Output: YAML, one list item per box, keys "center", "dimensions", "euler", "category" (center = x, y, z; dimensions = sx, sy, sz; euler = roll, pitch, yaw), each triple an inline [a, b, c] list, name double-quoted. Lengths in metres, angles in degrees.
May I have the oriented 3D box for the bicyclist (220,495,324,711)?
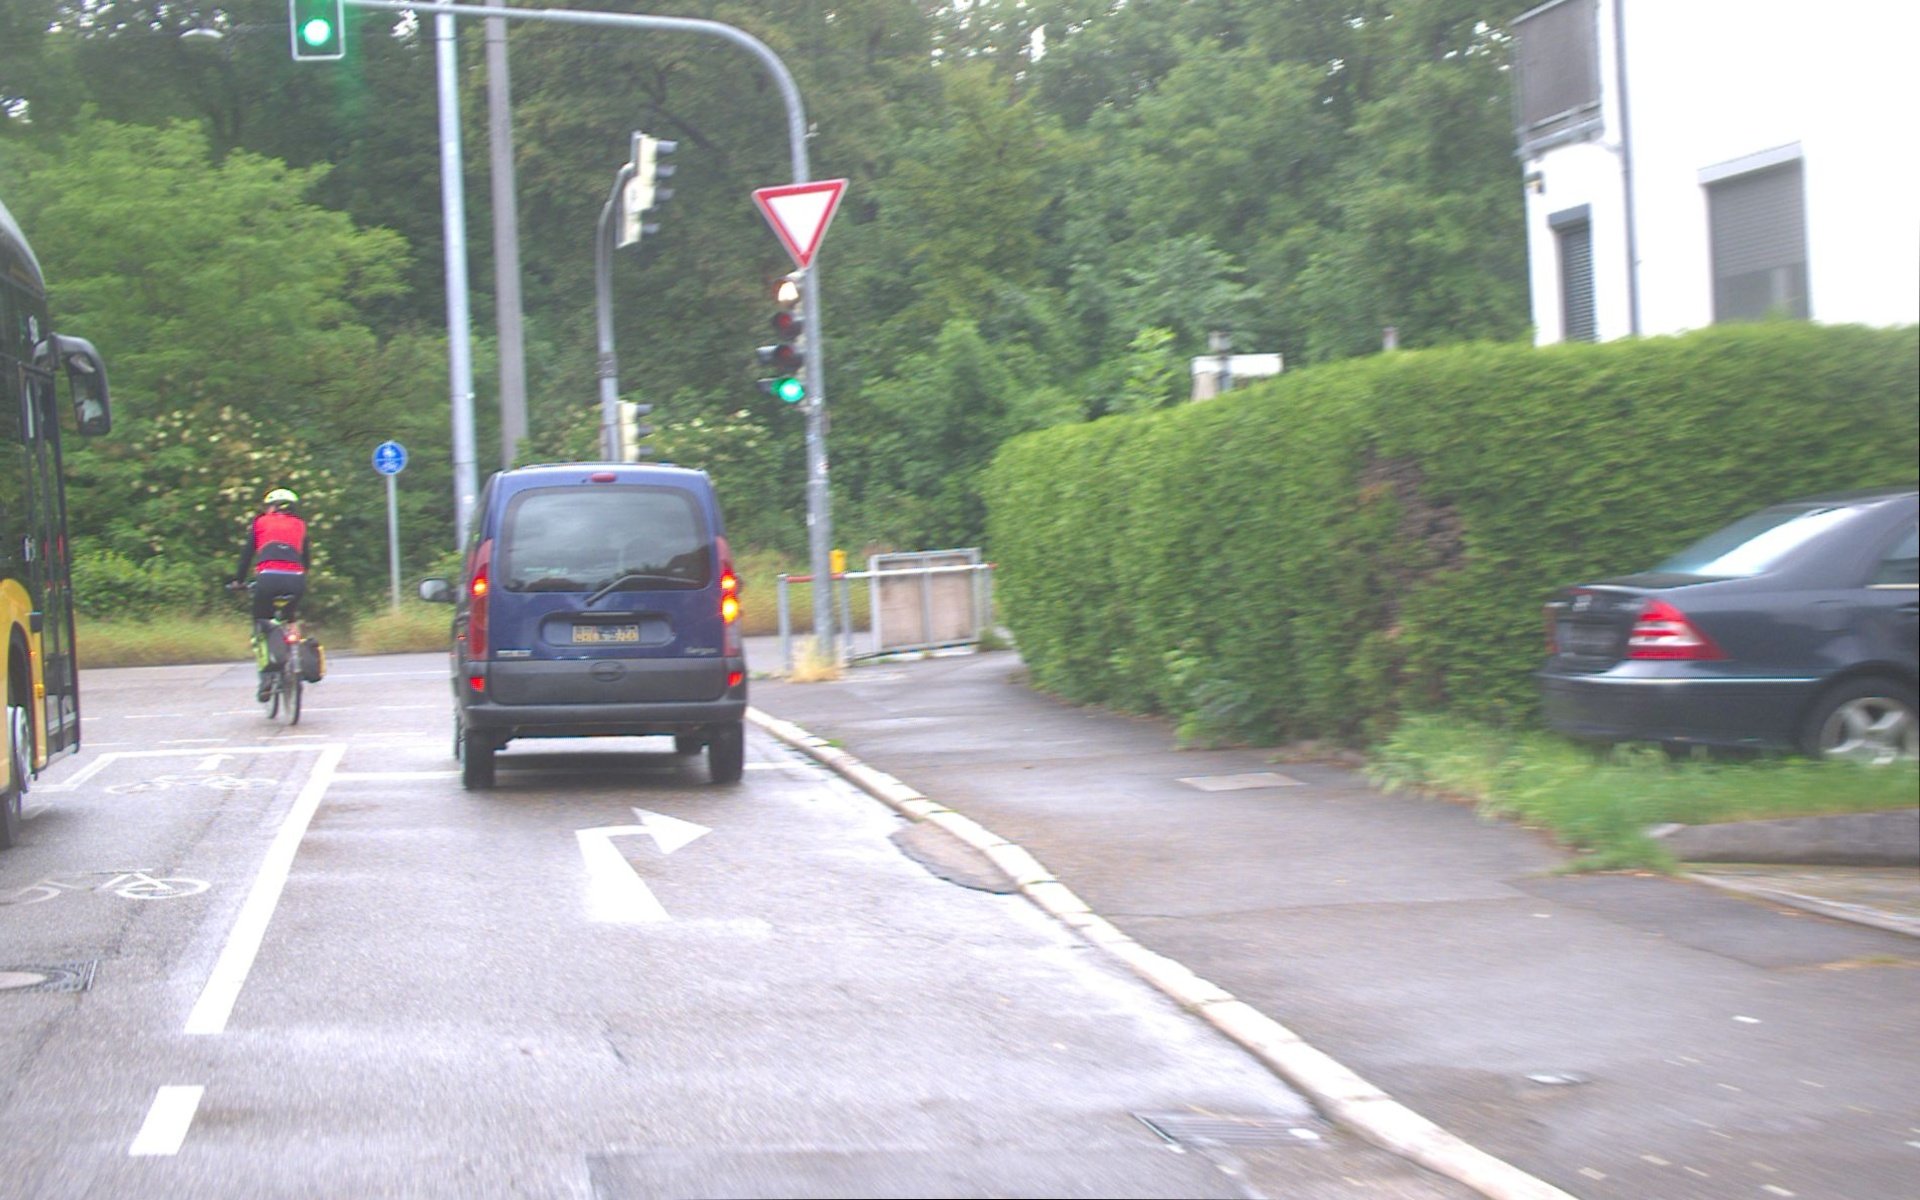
- center: [-5.390, 0.012, 26.918]
  dimensions: [0.578, 1.647, 1.049]
  euler: [-1, 1, -23]
  category: "bicyclist"

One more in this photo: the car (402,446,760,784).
- center: [-2.383, 0.068, 20.769]
  dimensions: [1.808, 1.791, 4.001]
  euler: [-2, 0, -10]
  category: "car"

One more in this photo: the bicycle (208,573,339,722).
- center: [-5.407, 0.347, 26.986]
  dimensions: [0.578, 1.093, 2.155]
  euler: [-1, 1, -23]
  category: "bicycle"

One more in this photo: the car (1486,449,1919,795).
- center: [4.470, 0.020, 15.686]
  dimensions: [3.742, 1.383, 1.617]
  euler: [-2, 3, -9]
  category: "car"

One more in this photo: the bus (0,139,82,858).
- center: [-5.703, -0.429, 14.232]
  dimensions: [2.899, 3.386, 9.043]
  euler: [-2, 2, -8]
  category: "bus"
